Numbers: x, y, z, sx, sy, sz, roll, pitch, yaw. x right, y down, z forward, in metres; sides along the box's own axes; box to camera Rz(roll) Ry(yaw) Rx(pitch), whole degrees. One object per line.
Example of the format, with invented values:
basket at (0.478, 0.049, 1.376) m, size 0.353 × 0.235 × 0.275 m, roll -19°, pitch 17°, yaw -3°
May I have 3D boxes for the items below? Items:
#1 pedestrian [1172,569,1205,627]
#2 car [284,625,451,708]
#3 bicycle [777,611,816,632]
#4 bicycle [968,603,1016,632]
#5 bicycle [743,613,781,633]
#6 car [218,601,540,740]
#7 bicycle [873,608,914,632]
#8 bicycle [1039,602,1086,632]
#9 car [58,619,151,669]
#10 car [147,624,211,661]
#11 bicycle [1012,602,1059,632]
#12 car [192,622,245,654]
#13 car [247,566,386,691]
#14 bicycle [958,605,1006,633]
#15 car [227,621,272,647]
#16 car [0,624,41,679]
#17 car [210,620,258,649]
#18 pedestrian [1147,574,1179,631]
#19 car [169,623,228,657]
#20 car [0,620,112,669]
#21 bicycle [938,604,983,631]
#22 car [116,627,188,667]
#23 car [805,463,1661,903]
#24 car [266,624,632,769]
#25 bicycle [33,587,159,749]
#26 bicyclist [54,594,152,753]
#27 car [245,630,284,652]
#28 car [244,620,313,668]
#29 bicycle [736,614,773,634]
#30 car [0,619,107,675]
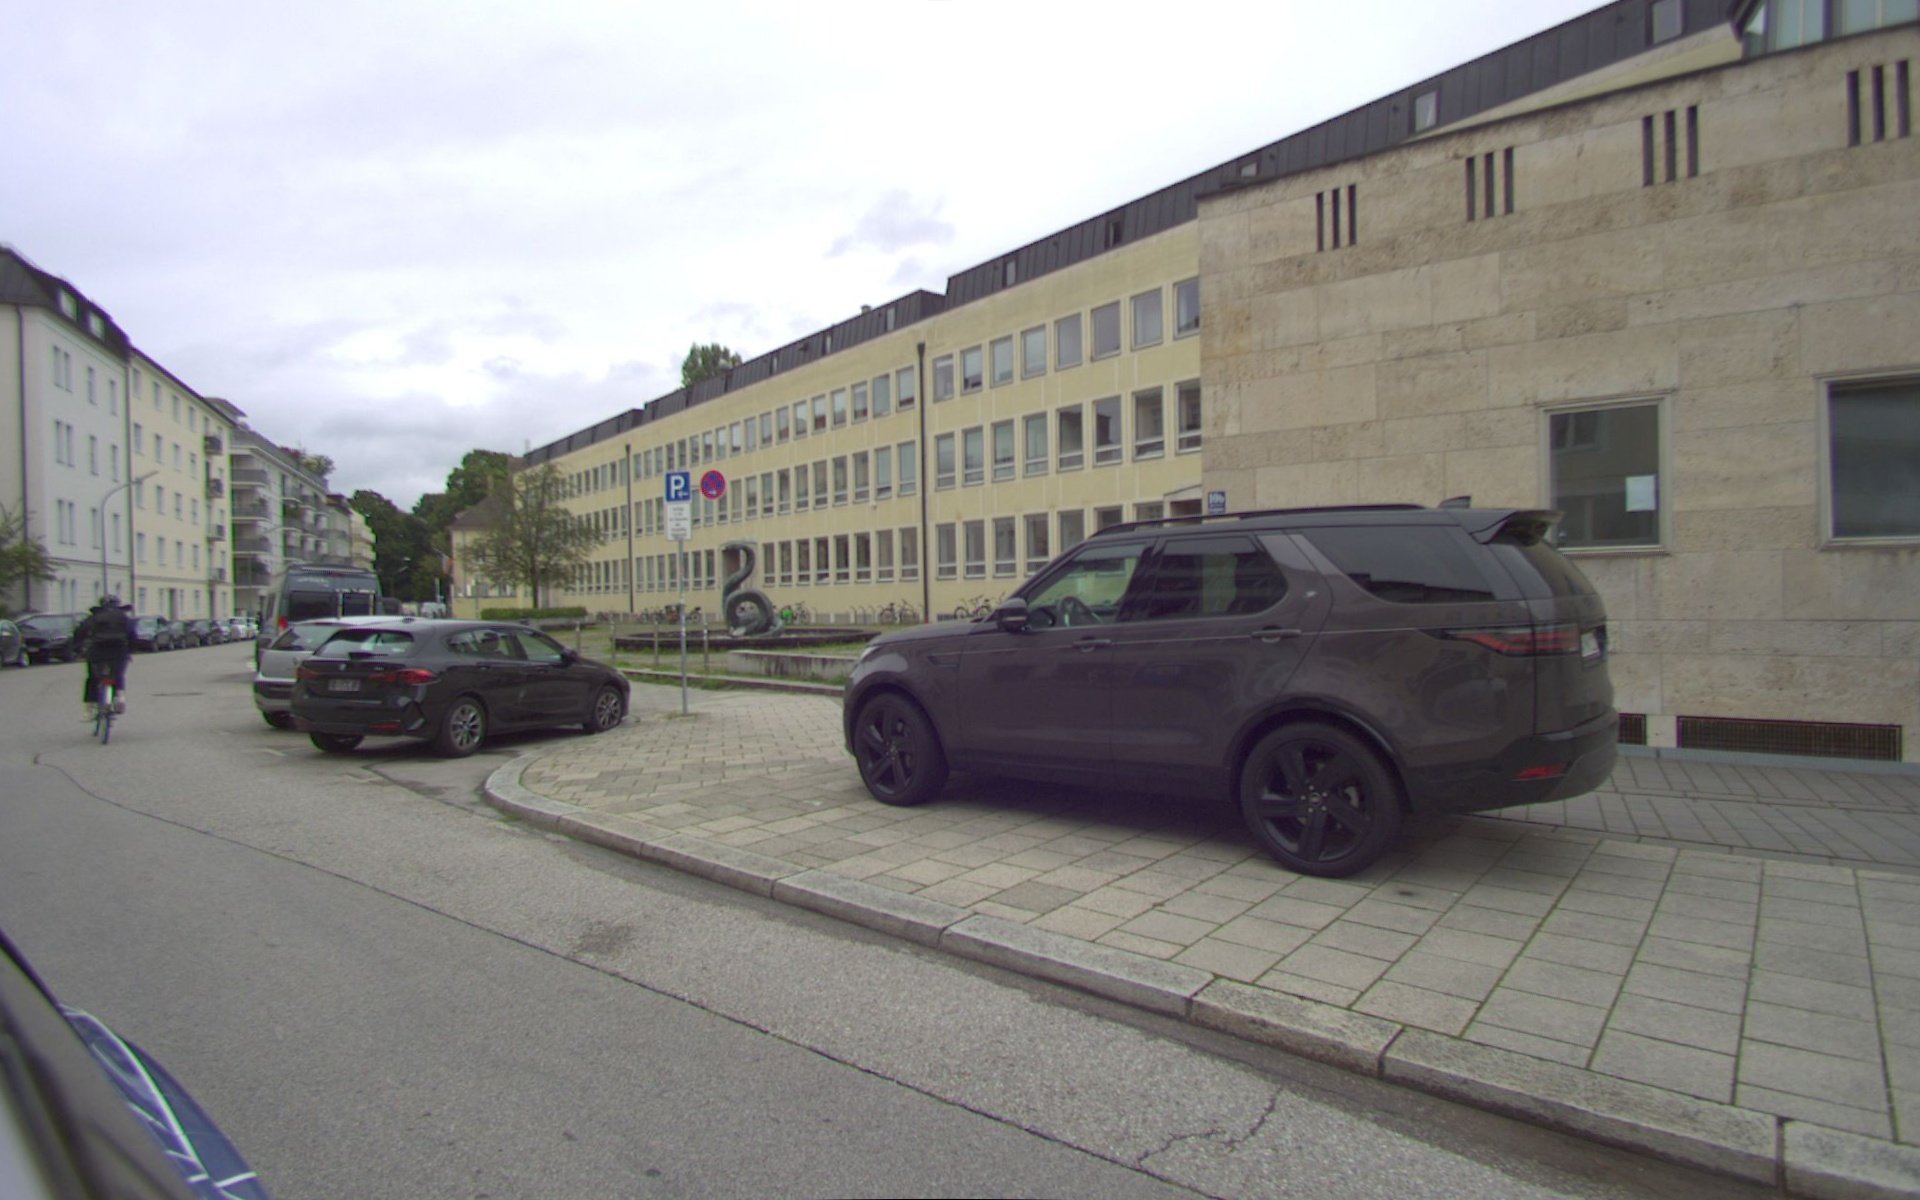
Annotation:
pedestrian at (7.086, -0.050, 31.359) m, size 0.706 × 1.757 × 0.647 m, roll -4°, pitch 1°, yaw -44°
car at (-11.274, 1.198, 19.140) m, size 1.805 × 1.398 × 4.145 m, roll 4°, pitch -4°, yaw -43°
bicycle at (-8.053, 1.043, 49.847) m, size 1.878 × 0.923 × 0.438 m, roll -4°, pitch 1°, yaw -41°
bicycle at (1.225, 0.660, 38.022) m, size 1.854 × 0.975 × 0.533 m, roll -4°, pitch 1°, yaw -38°
bicycle at (-10.167, 1.172, 51.966) m, size 1.878 × 0.923 × 0.438 m, roll -4°, pitch 1°, yaw -41°
car at (-8.044, 0.895, 14.486) m, size 1.659 × 1.541 × 3.965 m, roll -3°, pitch 1°, yaw 15°
bicycle at (-2.875, 0.866, 43.931) m, size 1.878 × 0.923 × 0.438 m, roll -4°, pitch 1°, yaw -41°
bicycle at (3.570, 0.574, 35.111) m, size 1.878 × 0.923 × 0.438 m, roll -4°, pitch 1°, yaw -41°
car at (-34.980, 1.749, 41.521) m, size 1.753 × 1.743 × 4.404 m, roll -3°, pitch 1°, yaw -25°
car at (-39.223, 2.110, 50.915) m, size 1.753 × 1.603 × 3.714 m, roll -3°, pitch 1°, yaw -26°
bicycle at (2.705, 0.593, 35.967) m, size 1.878 × 0.923 × 0.438 m, roll -4°, pitch 1°, yaw -41°
car at (-43.047, 2.171, 58.834) m, size 1.753 × 1.603 × 3.714 m, roll -3°, pitch 1°, yaw -26°
car at (-15.449, 0.641, 24.109) m, size 2.116 × 2.594 × 6.223 m, roll 0°, pitch -1°, yaw -39°
bicycle at (0.849, 0.725, 38.712) m, size 1.854 × 0.947 × 0.533 m, roll -4°, pitch 1°, yaw -38°
car at (-47.234, 2.220, 67.337) m, size 1.811 × 1.469 × 4.035 m, roll -3°, pitch 1°, yaw -27°
car at (-29.635, 1.594, 30.837) m, size 1.486 × 1.568 × 2.872 m, roll -3°, pitch 1°, yaw -24°
car at (-45.544, 2.110, 63.574) m, size 1.753 × 1.603 × 3.714 m, roll -3°, pitch 1°, yaw -26°
pedestrian at (6.429, 0.075, 32.036) m, size 0.706 × 1.757 × 0.647 m, roll -4°, pitch 1°, yaw -44°
car at (-40.899, 2.113, 54.442) m, size 1.753 × 1.603 × 3.714 m, roll -3°, pitch 1°, yaw -26°
car at (-36.548, 1.749, 39.758) m, size 4.851 × 1.785 × 1.887 m, roll 0°, pitch 0°, yaw -43°
bicycle at (0.042, 0.681, 38.951) m, size 1.878 × 0.923 × 0.438 m, roll -4°, pitch 1°, yaw -41°
car at (-37.548, 2.140, 47.099) m, size 1.753 × 1.603 × 3.714 m, roll -3°, pitch 1°, yaw -26°
car at (1.412, 0.381, 6.390) m, size 4.809 × 1.785 × 1.974 m, roll -2°, pitch 0°, yaw 39°
car at (-5.683, 0.979, 11.890) m, size 1.731 × 1.384 × 3.992 m, roll 0°, pitch -1°, yaw 12°
bicycle at (-10.447, 0.793, 12.186) m, size 3.115 × 1.735 × 0.786 m, roll -3°, pitch -3°, yaw 43°
bicyclist at (-9.891, 0.819, 11.676) m, size 1.032 × 1.730 × 0.739 m, roll -3°, pitch -2°, yaw 43°
car at (-49.723, 2.912, 72.443) m, size 1.714 × 1.385 × 4.035 m, roll -3°, pitch 1°, yaw -27°
car at (-22.378, 1.423, 33.335) m, size 1.643 × 1.471 × 2.877 m, roll 1°, pitch -1°, yaw -30°
bicycle at (-10.662, 1.225, 52.544) m, size 1.878 × 0.923 × 0.438 m, roll -4°, pitch 1°, yaw -41°
car at (-32.095, 1.620, 35.654) m, size 1.901 × 1.743 × 4.702 m, roll -3°, pitch 0°, yaw -25°
